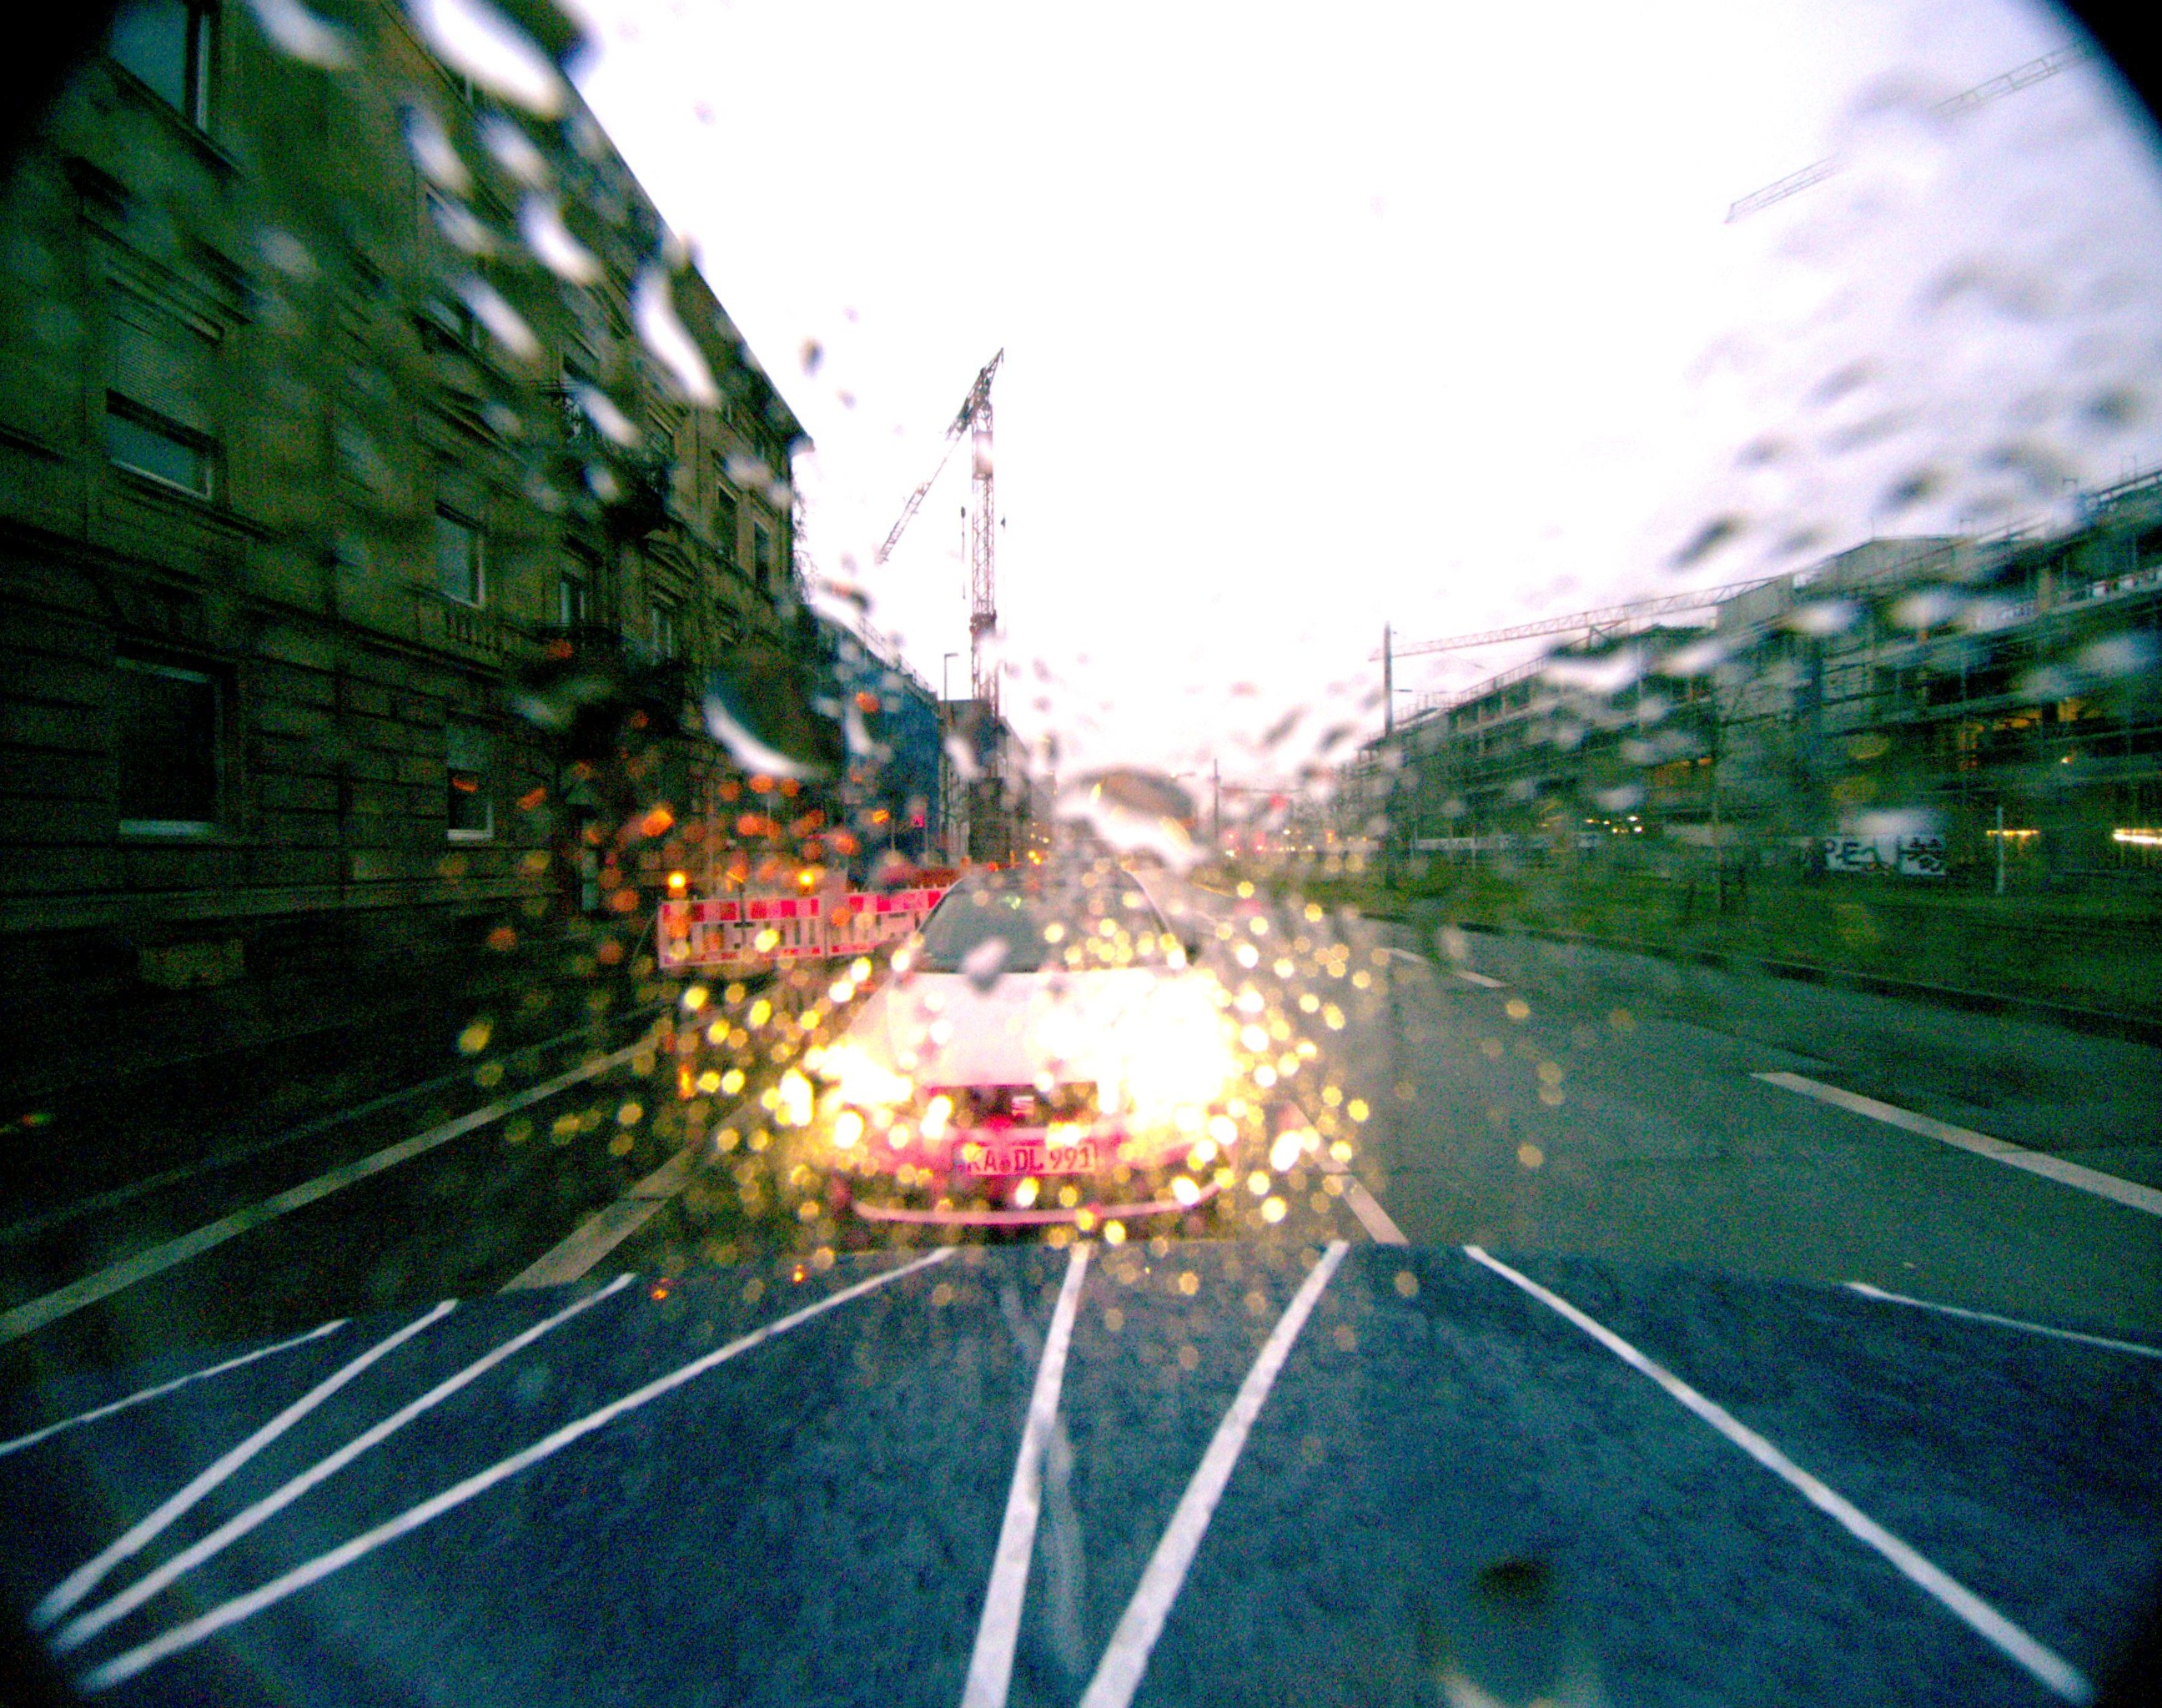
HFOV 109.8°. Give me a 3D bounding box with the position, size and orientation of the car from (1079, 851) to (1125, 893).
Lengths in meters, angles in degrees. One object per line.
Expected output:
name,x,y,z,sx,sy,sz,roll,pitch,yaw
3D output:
car,0.823,0.699,31.814,1.769,1.504,3.899,-3,1,0

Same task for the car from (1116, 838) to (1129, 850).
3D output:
car,5.898,-1.391,107.045,1.768,1.614,3.900,-3,1,4

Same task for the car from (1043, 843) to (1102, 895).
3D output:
car,-0.266,0.445,25.356,1.769,1.504,3.899,-3,1,0

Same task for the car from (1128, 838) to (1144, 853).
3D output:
car,6.297,-1.001,87.353,1.768,1.614,3.900,-3,1,4

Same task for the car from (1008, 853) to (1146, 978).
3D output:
car,-0.058,0.821,12.022,1.769,1.504,3.899,-3,1,0

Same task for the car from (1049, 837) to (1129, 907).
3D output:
car,0.169,0.374,19.321,1.769,1.504,3.899,-3,1,0

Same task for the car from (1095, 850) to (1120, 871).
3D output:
car,2.076,0.495,60.621,1.769,1.504,3.899,-3,1,0

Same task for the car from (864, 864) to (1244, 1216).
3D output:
car,-0.132,0.931,5.630,1.769,1.504,3.899,-3,1,0

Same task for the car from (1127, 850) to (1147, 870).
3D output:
car,5.120,0.521,69.749,1.768,1.614,3.900,-3,1,4
